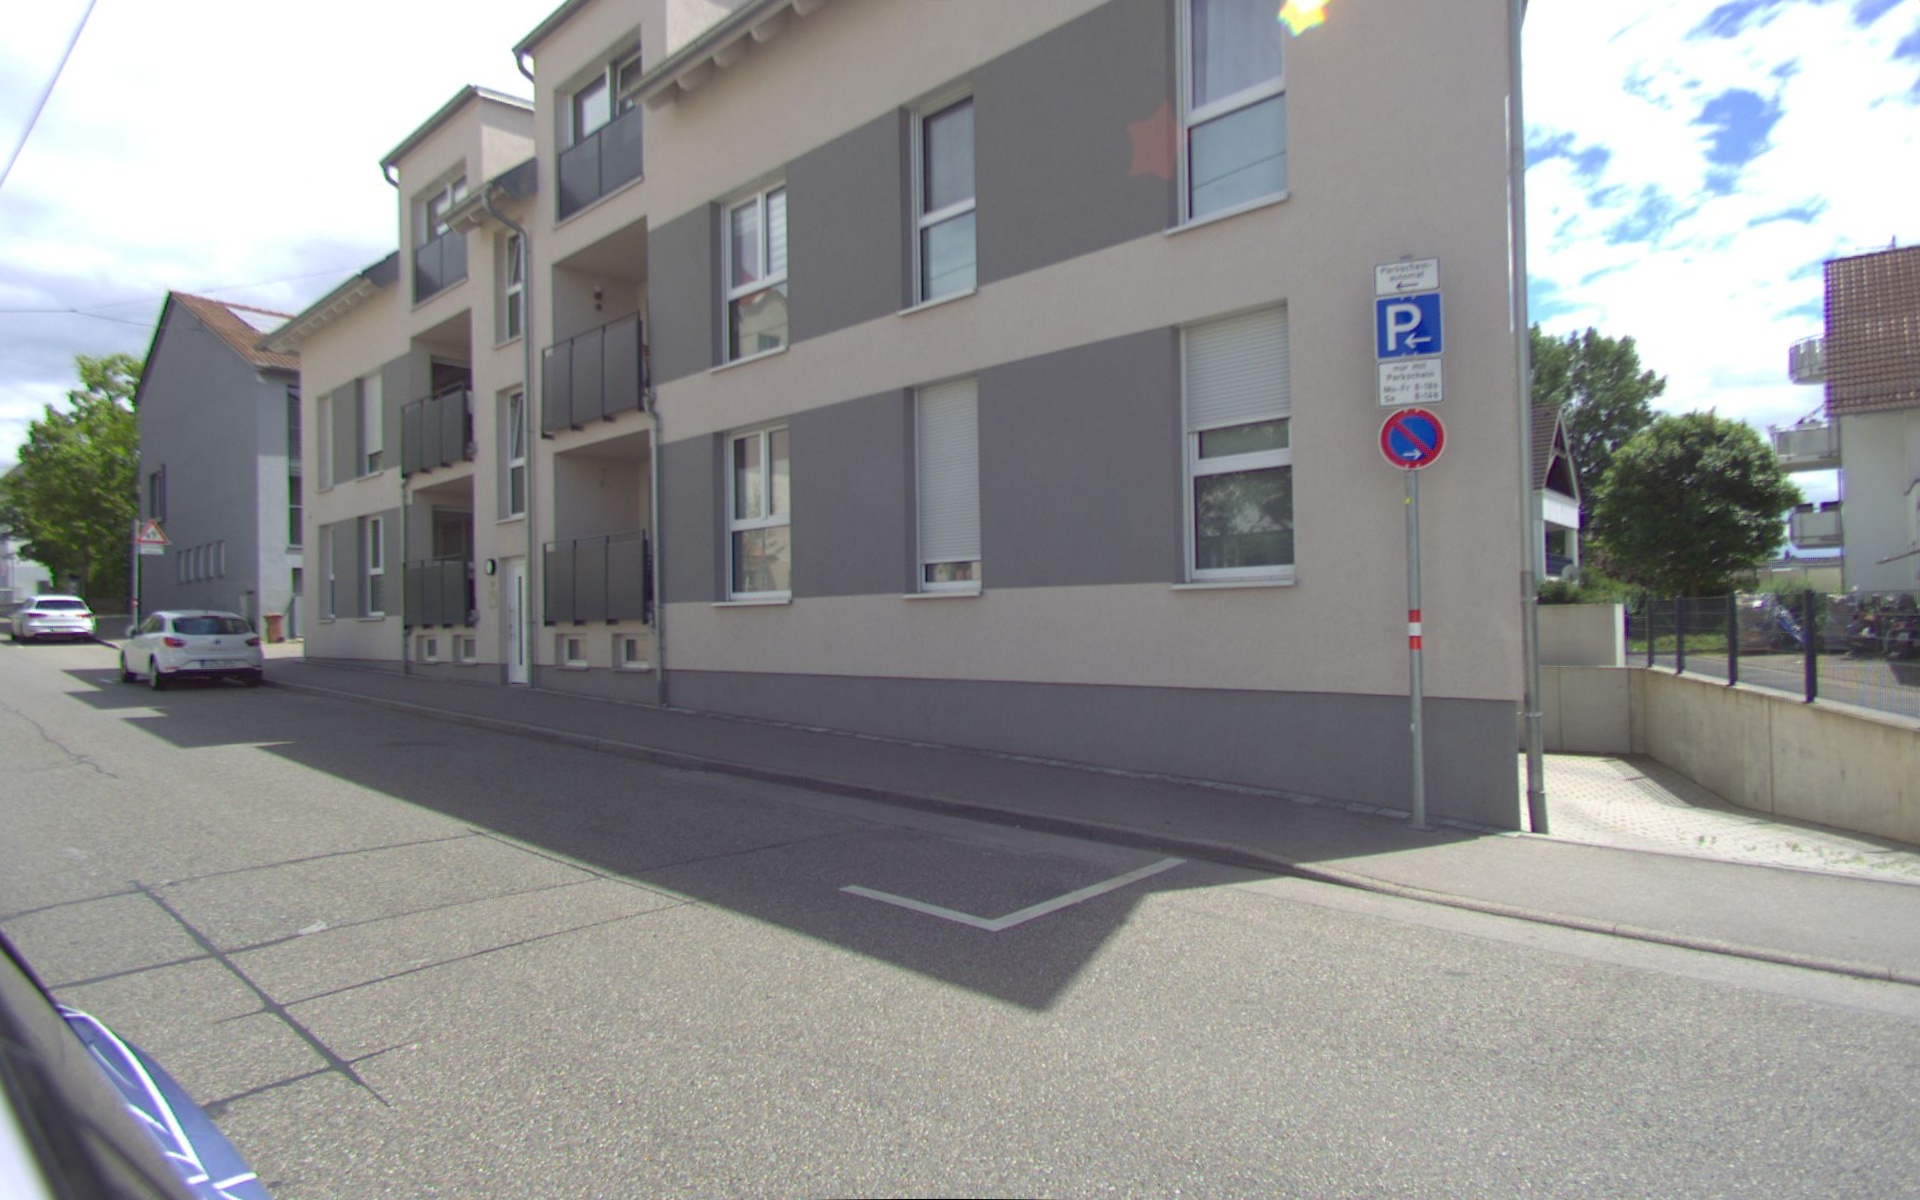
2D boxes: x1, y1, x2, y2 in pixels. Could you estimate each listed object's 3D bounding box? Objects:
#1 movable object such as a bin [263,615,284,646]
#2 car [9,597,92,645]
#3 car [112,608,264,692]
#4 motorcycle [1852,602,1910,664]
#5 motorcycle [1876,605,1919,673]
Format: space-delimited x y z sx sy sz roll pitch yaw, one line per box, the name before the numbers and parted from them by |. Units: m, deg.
movable object such as a bin | -21.439 0.946 31.617 0.399 0.936 0.449 1 -1 41
car | -28.135 0.646 31.263 3.868 1.401 1.678 -1 -1 45
car | -14.867 0.900 19.429 3.697 1.429 1.630 0 -1 42
motorcycle | 21.936 0.754 24.138 0.927 1.372 2.141 0 1 40
motorcycle | 20.589 0.817 21.990 0.927 1.372 2.141 0 1 40
